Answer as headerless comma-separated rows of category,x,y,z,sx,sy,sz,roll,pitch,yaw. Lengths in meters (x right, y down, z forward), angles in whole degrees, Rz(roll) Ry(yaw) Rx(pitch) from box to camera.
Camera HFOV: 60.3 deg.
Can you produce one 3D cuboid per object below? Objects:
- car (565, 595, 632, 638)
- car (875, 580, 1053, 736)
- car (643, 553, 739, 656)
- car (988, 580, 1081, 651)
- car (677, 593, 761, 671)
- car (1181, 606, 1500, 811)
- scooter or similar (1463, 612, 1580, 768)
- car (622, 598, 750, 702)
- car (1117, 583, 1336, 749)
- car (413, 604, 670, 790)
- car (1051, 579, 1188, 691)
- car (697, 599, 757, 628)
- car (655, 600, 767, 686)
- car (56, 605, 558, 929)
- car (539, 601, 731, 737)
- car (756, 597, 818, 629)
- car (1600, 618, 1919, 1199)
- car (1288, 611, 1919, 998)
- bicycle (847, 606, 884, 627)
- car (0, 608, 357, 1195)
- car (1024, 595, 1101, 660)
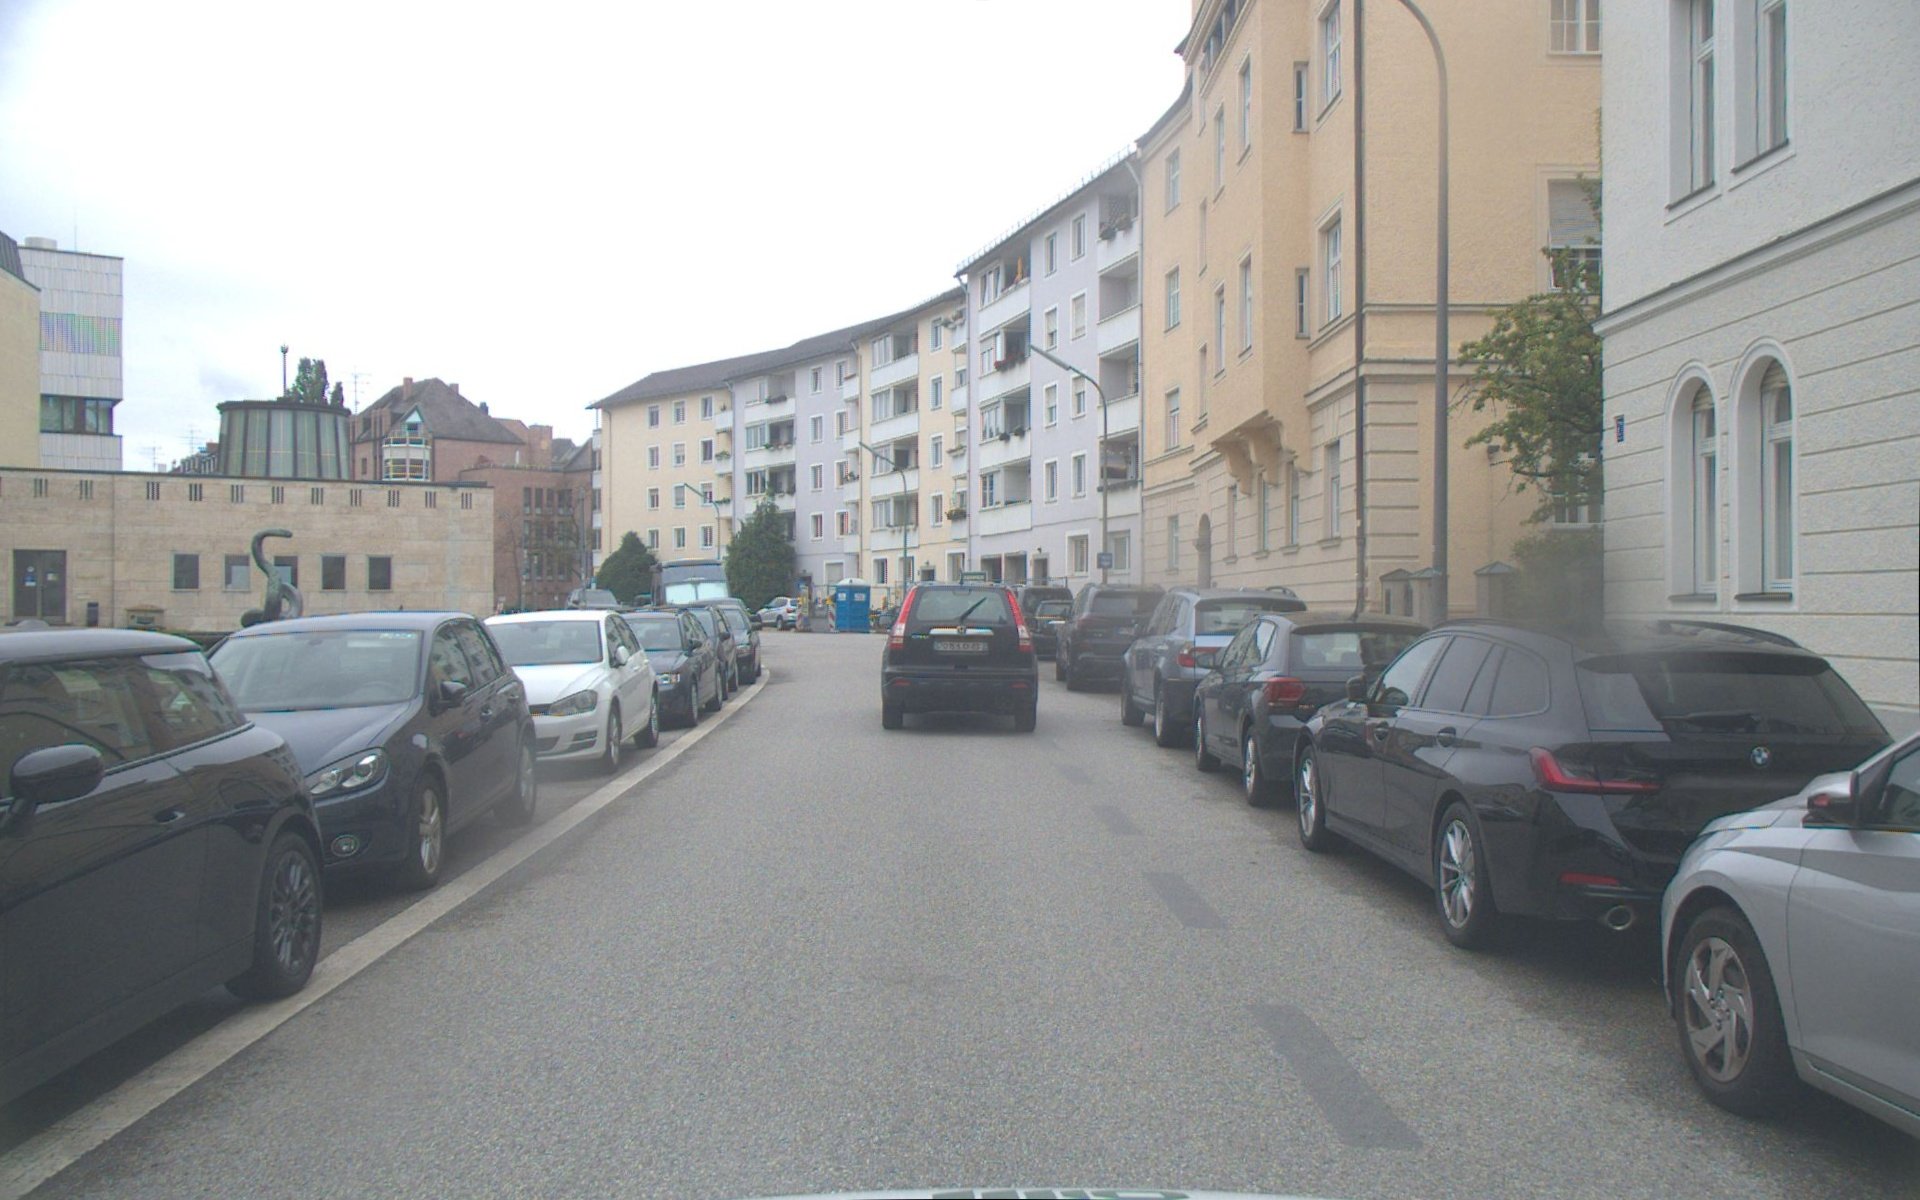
car,-15.107,0.654,68.943,1.659,1.737,4.473,0,0,-27
car,-0.053,0.631,19.866,1.853,1.676,3.988,0,0,-4
car,-7.708,0.103,46.914,2.128,2.688,5.994,-1,0,-15
car,2.024,0.405,45.975,1.745,1.838,4.267,1,0,-9
car,-5.082,0.658,35.158,1.638,1.528,2.973,-2,0,-7
car,2.984,0.779,13.805,1.645,1.452,4.086,0,0,-1
scooter or similar,4.440,0.691,13.142,0.475,1.184,1.171,1,-1,-3
car,-4.268,0.737,26.138,1.624,1.479,3.310,-2,0,-4
car,2.888,0.669,18.841,1.687,1.663,4.456,0,0,-1
car,-3.843,0.809,15.840,1.624,1.479,4.070,-2,0,-4
car,2.675,0.567,28.755,1.831,1.747,4.865,1,0,-1
car,-12.868,0.727,91.093,1.709,1.509,3.952,1,0,-34
car,-4.581,0.743,30.961,1.764,1.430,4.450,-2,0,-5
car,-3.628,0.805,9.968,1.624,1.479,3.971,-2,0,-4
car,-4.009,0.790,21.083,1.720,1.479,4.393,-2,0,-3
car,-8.616,0.623,82.305,1.705,1.509,3.962,1,0,-28
car,3.197,0.786,3.886,1.645,1.452,4.165,0,0,-2
car,3.020,0.790,8.520,1.645,1.452,4.389,0,0,-2
bicycle,-4.887,0.853,85.276,1.840,1.110,0.561,0,0,-23
car,-3.316,0.807,4.953,1.646,1.479,3.868,-2,0,-2
car,2.491,0.655,40.948,1.673,1.472,3.829,1,0,0
